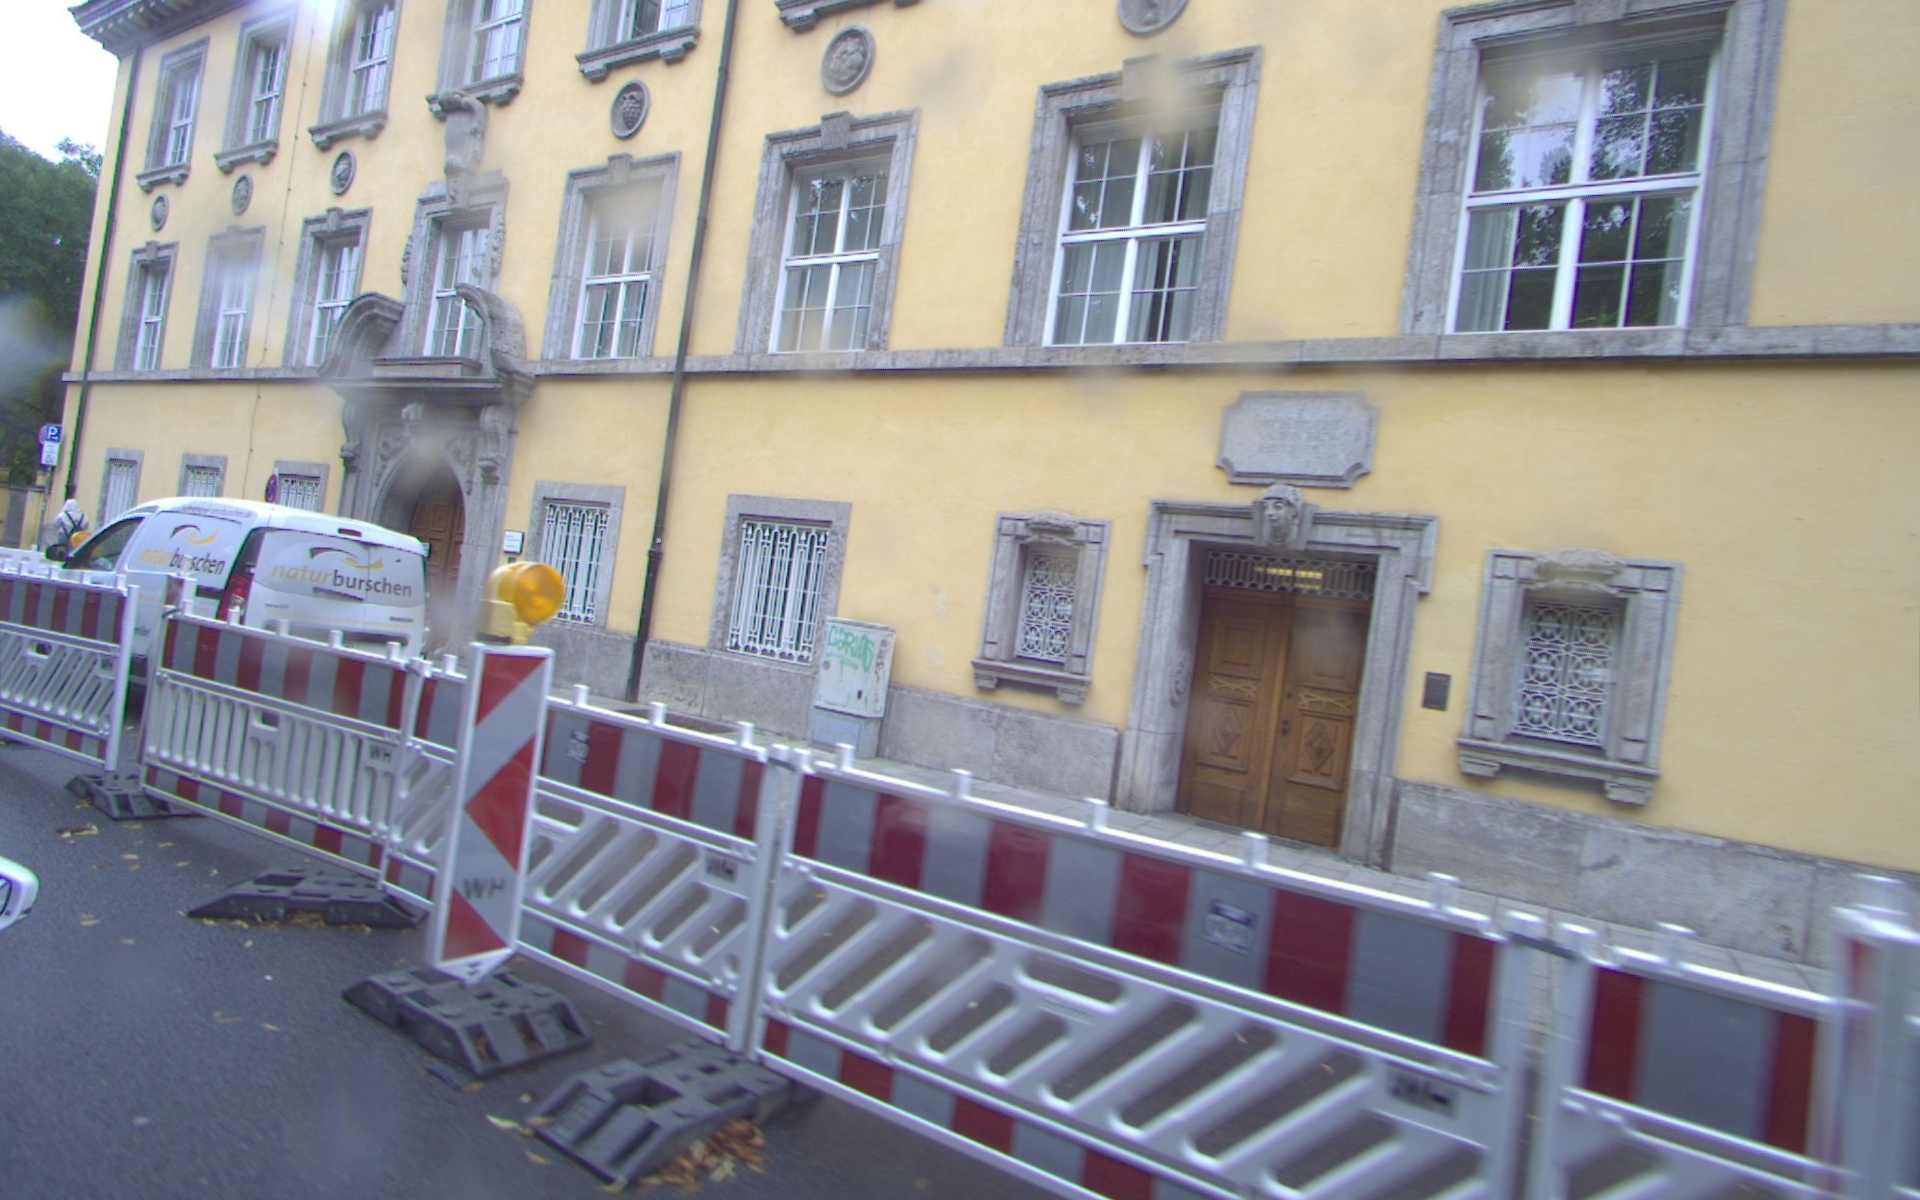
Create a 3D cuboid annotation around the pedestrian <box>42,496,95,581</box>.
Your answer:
[{"bbox_3d":[-18.292,-1.259,20.640,0.562,1.658,0.561,7,1,31],"label":"pedestrian"}]

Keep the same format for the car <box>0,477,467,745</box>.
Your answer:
[{"bbox_3d":[-6.539,0.029,8.832,4.283,1.770,1.744,6,-2,30],"label":"car"}]
